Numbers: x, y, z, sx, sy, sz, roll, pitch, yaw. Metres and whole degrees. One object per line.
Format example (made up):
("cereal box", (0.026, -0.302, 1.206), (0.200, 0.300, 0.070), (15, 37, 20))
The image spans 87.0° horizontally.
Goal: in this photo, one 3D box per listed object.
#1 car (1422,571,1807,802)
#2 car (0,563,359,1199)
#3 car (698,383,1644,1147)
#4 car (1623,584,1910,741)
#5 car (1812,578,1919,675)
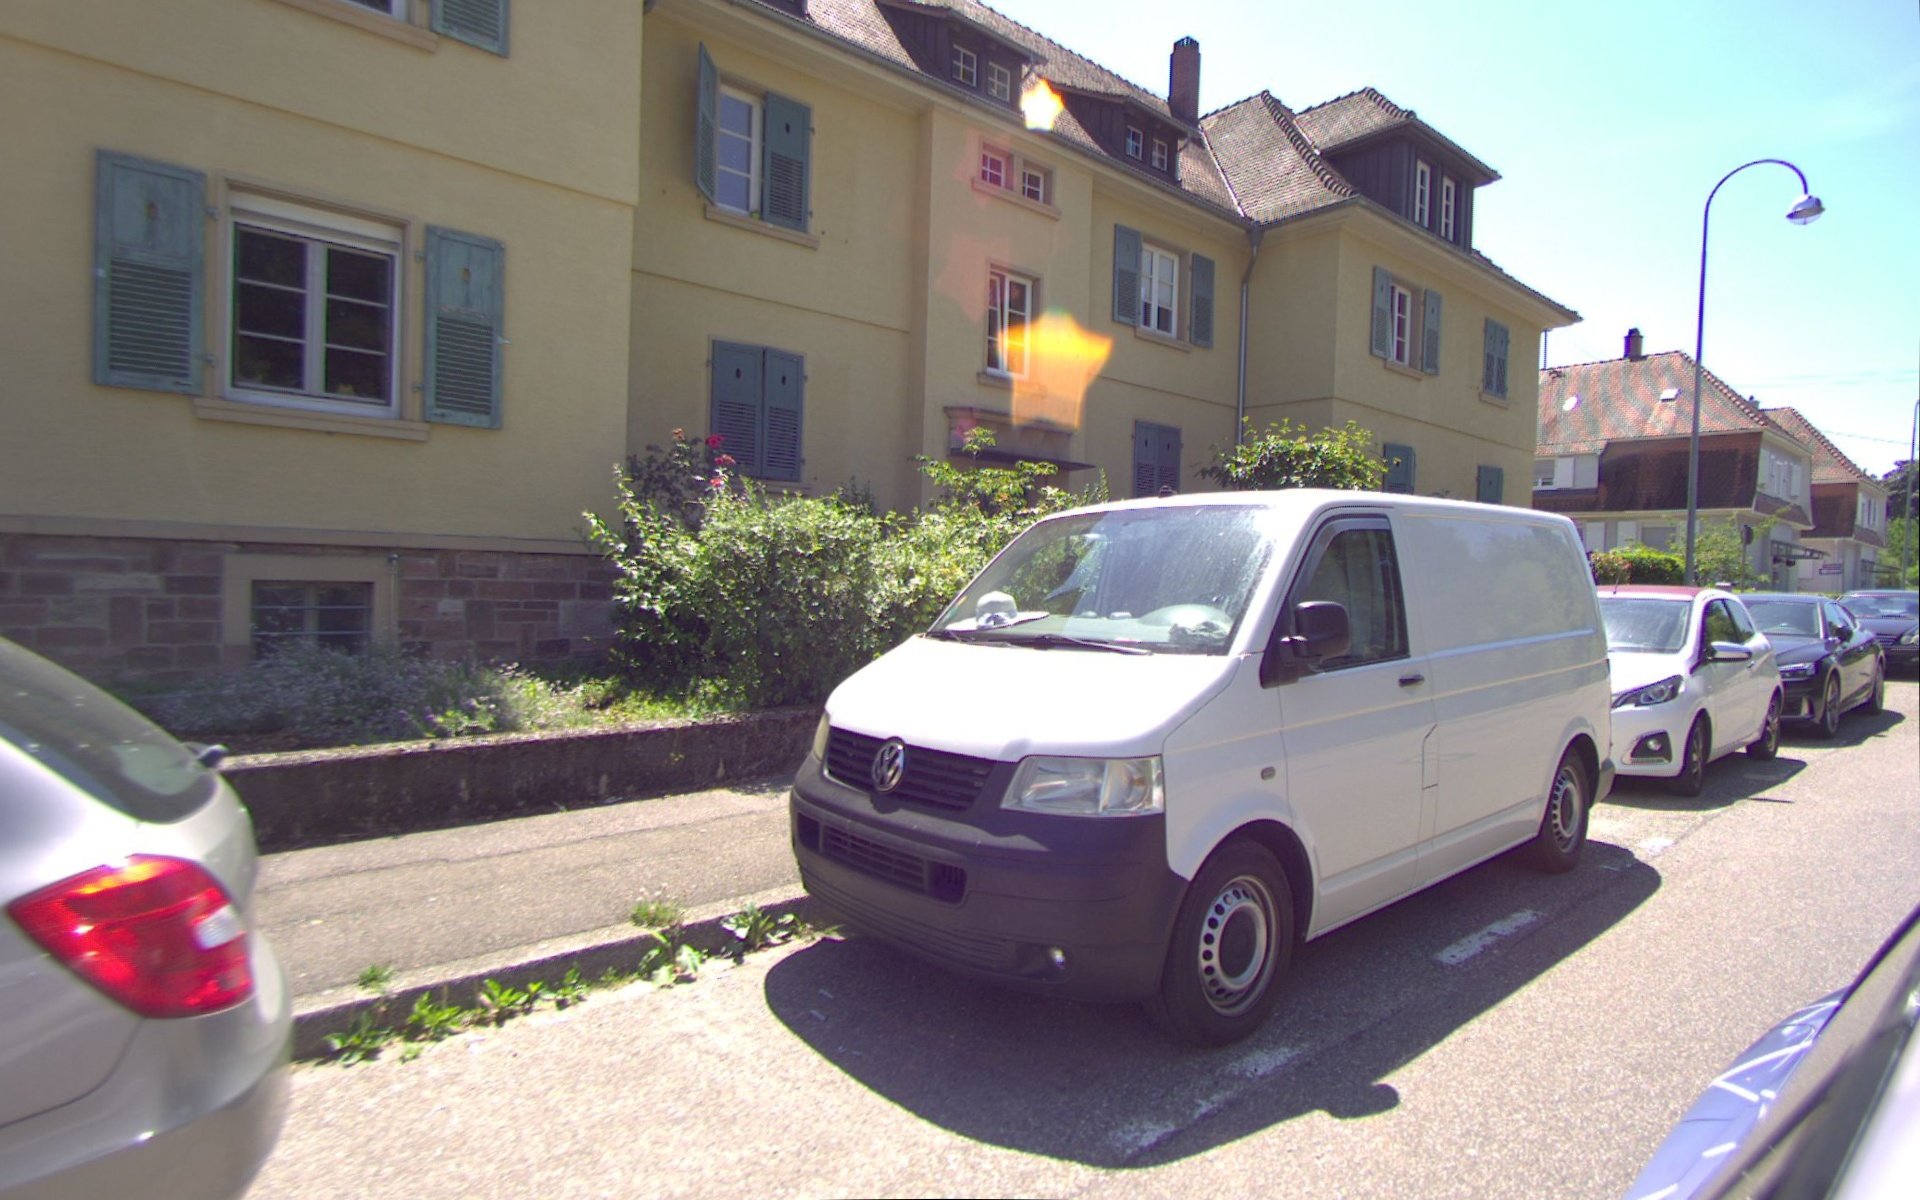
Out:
("car", (5.506, 0.521, 8.363), (3.585, 1.469, 1.764), (-1, 2, -42))
("car", (-3.159, 0.674, 1.024), (4.150, 1.469, 1.764), (-1, 2, -42))
("car", (1.384, 0.385, 4.870), (4.738, 1.925, 1.997), (-1, 0, -41))
("car", (9.149, 0.533, 11.328), (4.528, 1.388, 1.764), (-1, 2, -42))
("car", (16.075, 0.369, 17.257), (4.472, 1.436, 1.696), (-1, 2, -41))
